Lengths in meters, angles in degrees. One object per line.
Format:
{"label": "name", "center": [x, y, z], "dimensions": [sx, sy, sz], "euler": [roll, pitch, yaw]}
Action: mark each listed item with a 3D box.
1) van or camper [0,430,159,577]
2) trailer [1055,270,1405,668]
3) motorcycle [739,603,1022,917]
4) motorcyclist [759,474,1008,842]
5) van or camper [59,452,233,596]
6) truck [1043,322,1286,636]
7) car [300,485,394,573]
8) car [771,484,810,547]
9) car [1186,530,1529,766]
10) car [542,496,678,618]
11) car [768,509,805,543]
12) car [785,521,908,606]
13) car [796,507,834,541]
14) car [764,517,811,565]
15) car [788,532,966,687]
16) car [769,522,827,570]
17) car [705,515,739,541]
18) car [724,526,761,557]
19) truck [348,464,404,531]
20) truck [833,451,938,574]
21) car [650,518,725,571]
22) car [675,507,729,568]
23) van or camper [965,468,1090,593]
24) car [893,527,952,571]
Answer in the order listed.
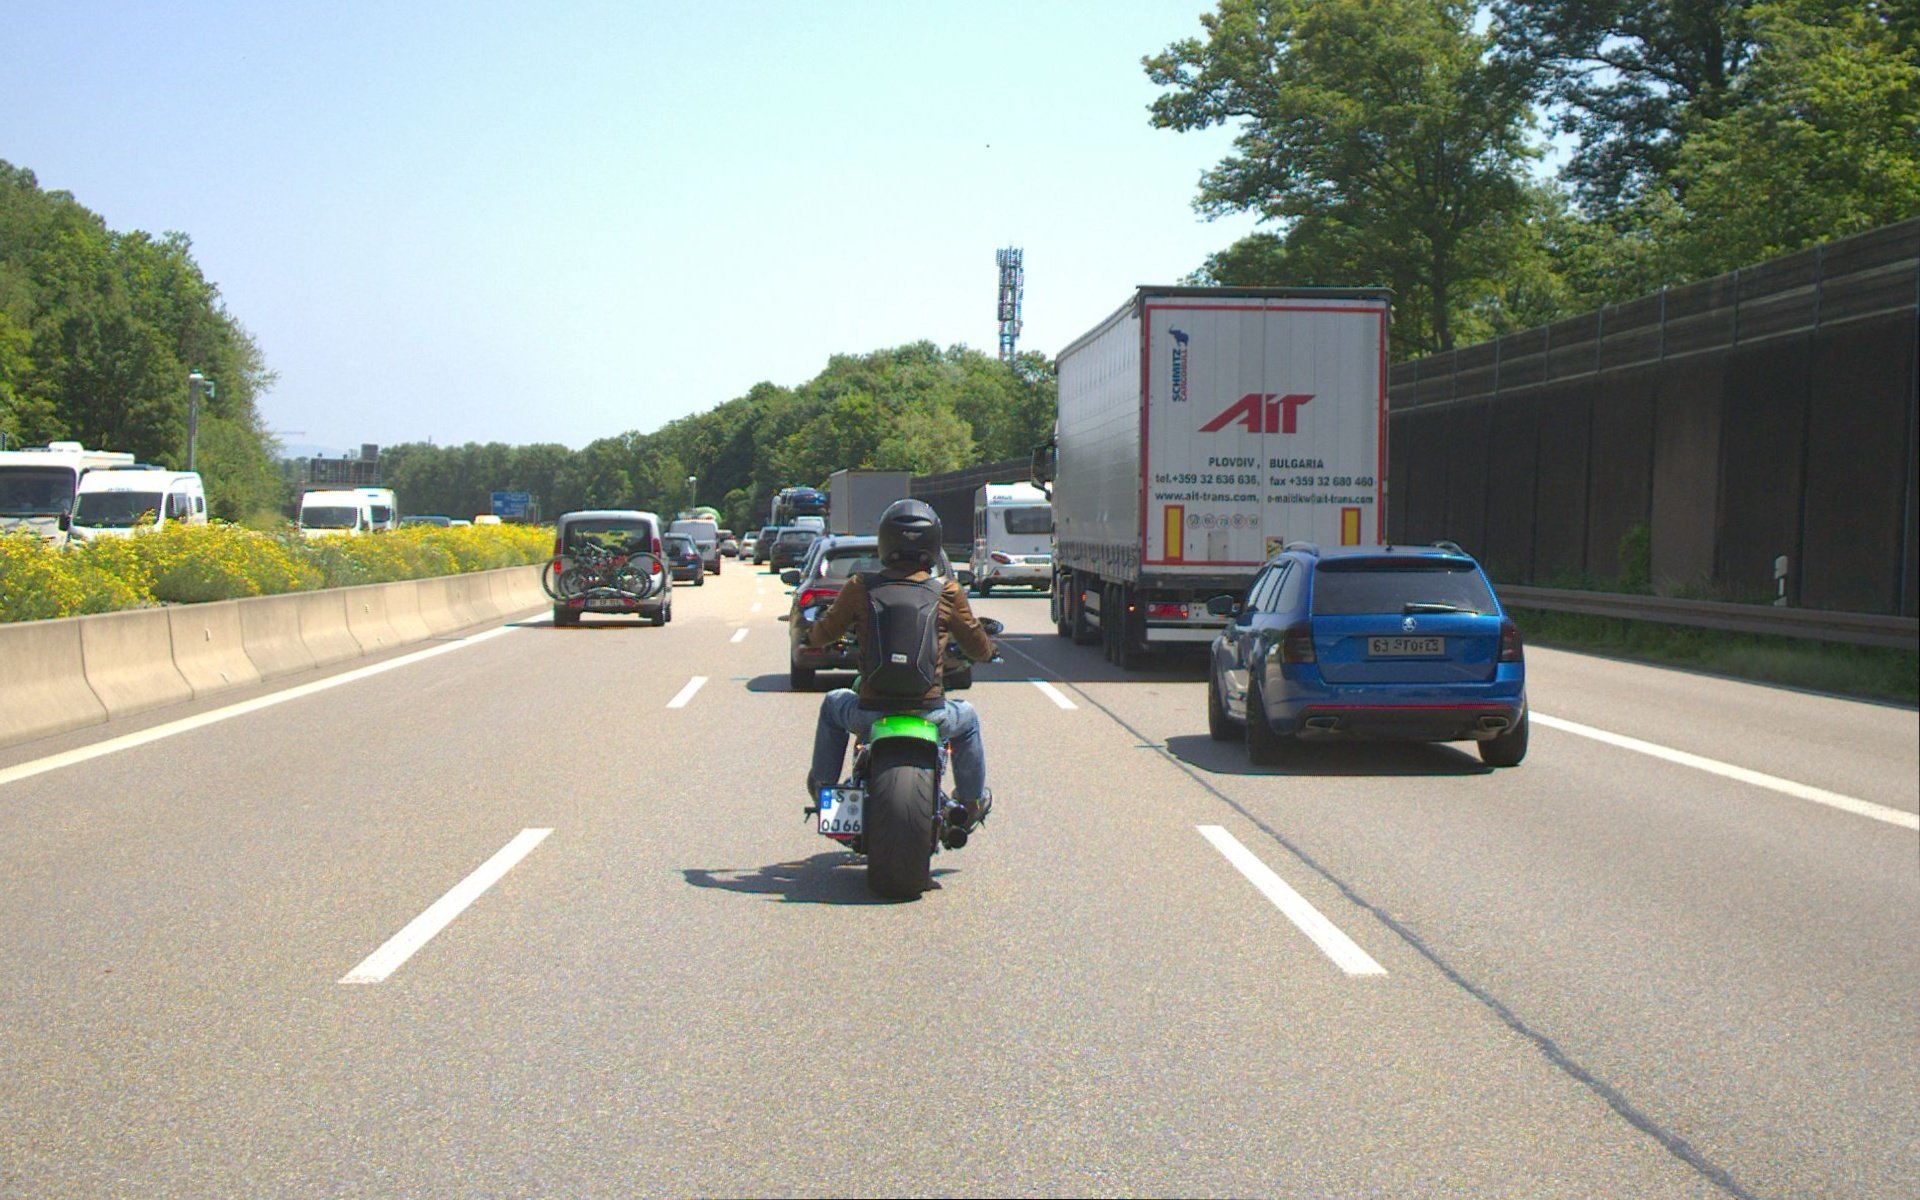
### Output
{"label": "van or camper", "center": [-21.363, -2.213, 82.375], "dimensions": [2.539, 3.306, 9.003], "euler": [0, 0, -2]}
{"label": "trailer", "center": [2.928, -1.476, 41.775], "dimensions": [2.885, 4.024, 13.796], "euler": [0, 1, -1]}
{"label": "motorcycle", "center": [-0.286, 0.622, 14.787], "dimensions": [0.964, 1.144, 2.811], "euler": [1, 1, 4]}
{"label": "motorcyclist", "center": [-0.293, 0.227, 14.696], "dimensions": [0.900, 1.470, 1.872], "euler": [0, 0, 4]}
{"label": "van or camper", "center": [-17.047, -1.599, 72.329], "dimensions": [2.257, 2.889, 6.557], "euler": [0, 1, -1]}
{"label": "truck", "center": [2.778, -1.663, 48.466], "dimensions": [2.885, 4.132, 5.986], "euler": [0, 1, -2]}
{"label": "car", "center": [-19.552, -2.281, 109.903], "dimensions": [2.200, 2.732, 5.748], "euler": [0, 1, -2]}
{"label": "car", "center": [-10.637, -5.306, 214.967], "dimensions": [2.133, 3.848, 8.144], "euler": [1, 1, -5]}
{"label": "car", "center": [2.638, 0.293, 23.756], "dimensions": [1.650, 1.477, 4.482], "euler": [0, 0, -3]}
{"label": "car", "center": [-5.580, -0.670, 55.243], "dimensions": [1.899, 1.867, 4.413], "euler": [0, 0, -2]}
{"label": "car", "center": [-10.148, -4.318, 201.060], "dimensions": [2.107, 1.870, 4.000], "euler": [0, 0, -4]}
{"label": "car", "center": [-1.924, -0.623, 59.580], "dimensions": [1.993, 1.425, 3.847], "euler": [0, 0, 0]}
{"label": "car", "center": [-8.269, -4.296, 195.475], "dimensions": [2.107, 1.870, 4.000], "euler": [0, 0, -3]}
{"label": "car", "center": [-7.464, -2.533, 148.511], "dimensions": [1.911, 2.007, 3.691], "euler": [0, 0, -5]}
{"label": "car", "center": [-0.857, 0.084, 34.164], "dimensions": [1.662, 1.448, 3.869], "euler": [0, 0, -2]}
{"label": "car", "center": [-5.611, -1.855, 118.984], "dimensions": [1.993, 1.634, 4.000], "euler": [0, 0, -3]}
{"label": "car", "center": [-14.010, -4.225, 202.787], "dimensions": [1.832, 1.491, 3.744], "euler": [0, 0, -1]}
{"label": "car", "center": [-11.035, -2.951, 174.578], "dimensions": [1.832, 1.491, 3.744], "euler": [0, 0, -2]}
{"label": "truck", "center": [-37.236, -6.501, 219.264], "dimensions": [2.963, 4.093, 6.089], "euler": [0, 0, -4]}
{"label": "truck", "center": [-3.202, -3.585, 144.519], "dimensions": [3.802, 4.943, 8.952], "euler": [0, 0, -5]}
{"label": "car", "center": [-7.450, -1.512, 94.180], "dimensions": [1.993, 1.382, 4.001], "euler": [0, 0, -4]}
{"label": "car", "center": [-8.751, -2.098, 116.621], "dimensions": [1.791, 2.007, 3.642], "euler": [0, 0, -4]}
{"label": "van or camper", "center": [1.521, -1.565, 80.248], "dimensions": [2.685, 2.803, 6.803], "euler": [0, 0, -1]}
{"label": "car", "center": [-1.404, -1.873, 126.770], "dimensions": [1.993, 1.568, 4.000], "euler": [0, 0, -3]}
